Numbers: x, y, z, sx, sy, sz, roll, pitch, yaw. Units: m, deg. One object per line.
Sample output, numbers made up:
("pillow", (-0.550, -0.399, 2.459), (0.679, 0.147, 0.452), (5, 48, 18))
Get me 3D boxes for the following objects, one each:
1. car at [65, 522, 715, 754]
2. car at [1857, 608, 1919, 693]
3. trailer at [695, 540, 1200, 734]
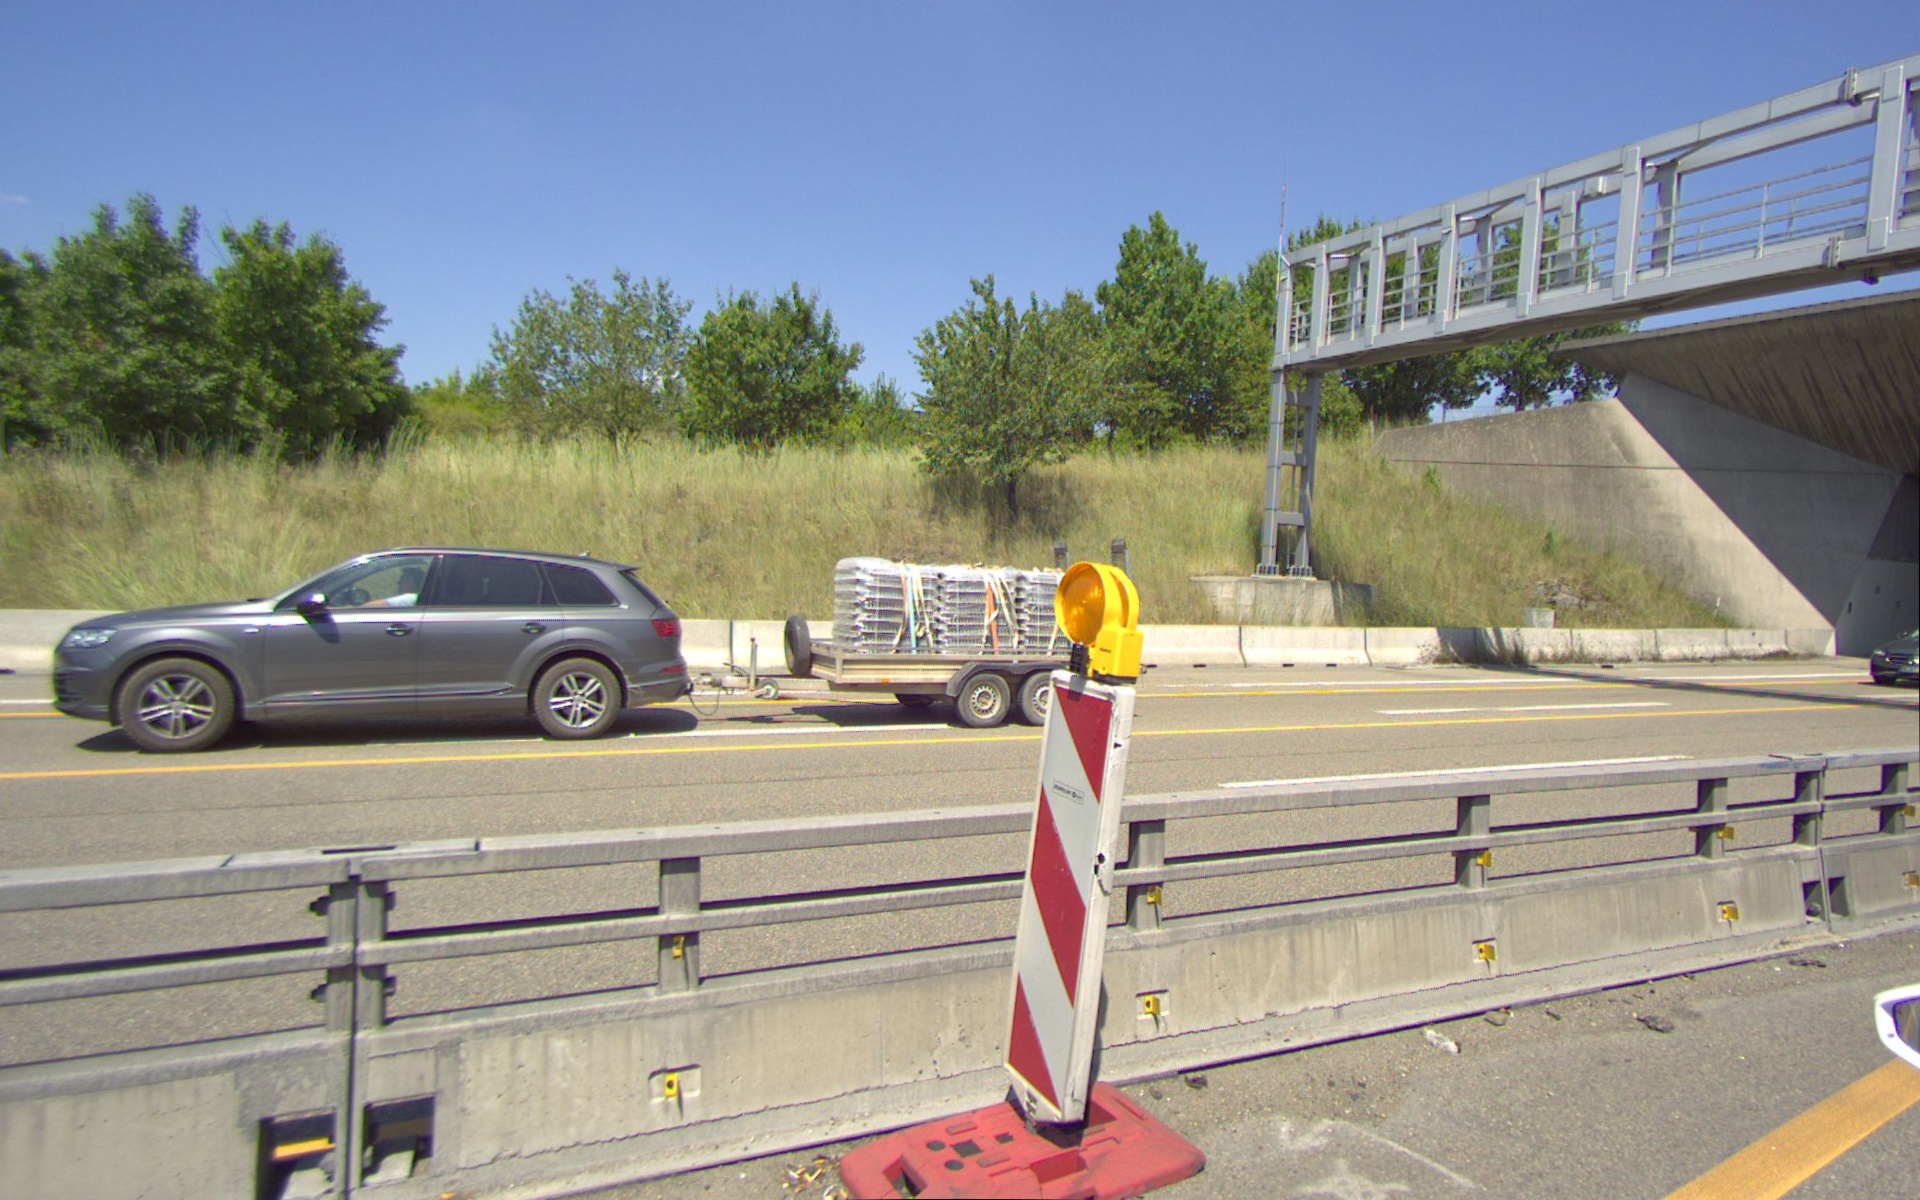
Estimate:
("car", (-4.868, 0.320, 9.340), (4.799, 1.750, 1.769), (1, 1, -24))
("car", (21.661, 1.087, 21.555), (4.740, 1.689, 1.769), (1, 1, -24))
("trailer", (-0.094, 0.387, 11.487), (5.445, 1.829, 1.941), (1, 1, -24))
